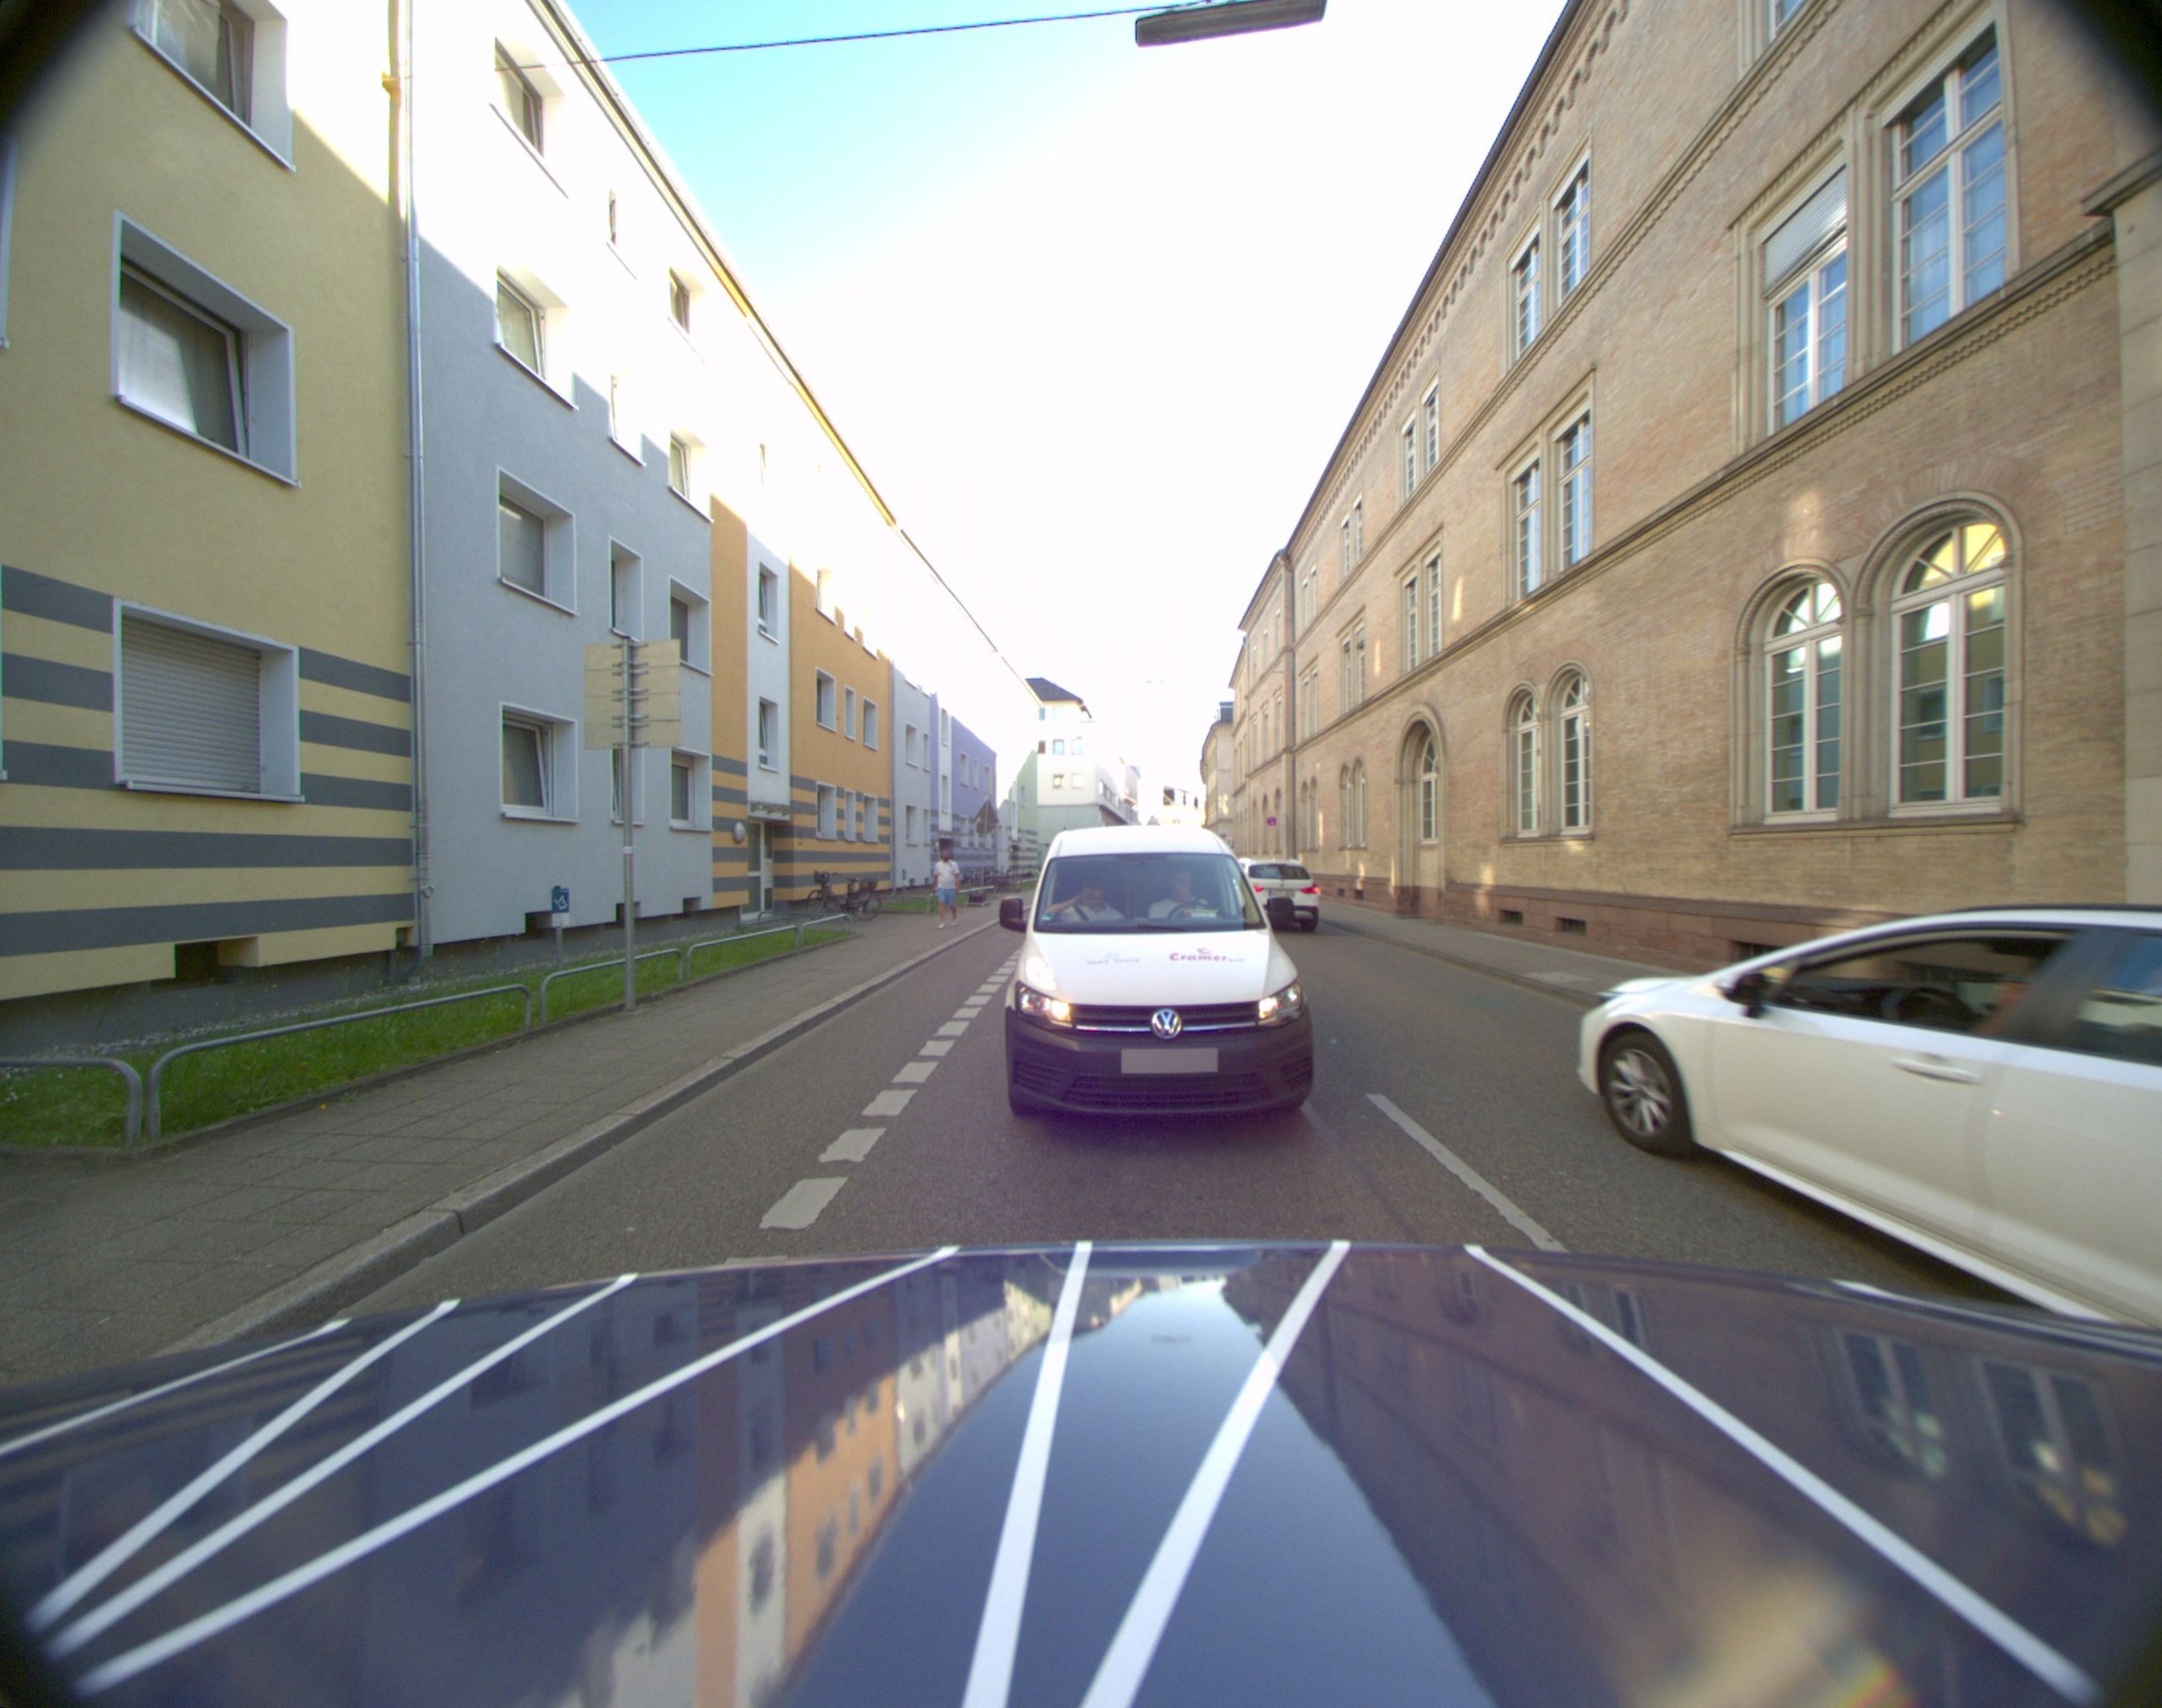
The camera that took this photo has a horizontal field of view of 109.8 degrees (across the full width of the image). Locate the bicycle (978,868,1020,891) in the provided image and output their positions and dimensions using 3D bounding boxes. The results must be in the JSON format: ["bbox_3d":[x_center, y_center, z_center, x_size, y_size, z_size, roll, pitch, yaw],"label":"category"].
[{"bbox_3d":[-3.655,1.141,33.832,1.775,0.934,0.584,1,1,7],"label":"bicycle"}]

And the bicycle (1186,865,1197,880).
[{"bbox_3d":[7.582,1.264,52.259,0.651,1.001,1.807,2,0,6],"label":"bicycle"}]

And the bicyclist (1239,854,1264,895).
[{"bbox_3d":[6.225,0.752,27.831,0.687,1.467,0.871,2,0,1],"label":"bicyclist"}]

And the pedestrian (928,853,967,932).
[{"bbox_3d":[-2.861,0.811,16.359,0.644,1.662,0.834,1,0,3],"label":"pedestrian"}]

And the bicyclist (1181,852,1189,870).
[{"bbox_3d":[9.015,0.608,65.848,0.546,1.524,0.870,2,0,10],"label":"bicyclist"}]

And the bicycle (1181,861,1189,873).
[{"bbox_3d":[8.992,1.111,65.777,0.546,1.001,1.758,2,0,10],"label":"bicycle"}]

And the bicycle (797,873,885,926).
[{"bbox_3d":[-5.390,1.017,17.117,1.776,1.118,0.583,1,1,-1],"label":"bicycle"}]

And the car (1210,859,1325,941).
[{"bbox_3d":[4.113,0.935,17.442,1.689,1.573,4.275,2,0,2],"label":"car"}]

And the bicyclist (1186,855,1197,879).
[{"bbox_3d":[7.585,0.889,52.248,0.651,1.558,0.961,2,0,6],"label":"bicyclist"}]

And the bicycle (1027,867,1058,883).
[{"bbox_3d":[-2.310,1.282,46.087,1.775,0.934,0.584,1,1,7],"label":"bicycle"}]

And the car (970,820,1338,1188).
[{"bbox_3d":[0.401,0.756,6.453,1.819,1.825,5.341,0,0,1],"label":"car"}]

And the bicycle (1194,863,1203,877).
[{"bbox_3d":[9.155,1.235,59.092,0.651,1.001,1.877,2,0,9],"label":"bicycle"}]

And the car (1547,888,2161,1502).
[{"bbox_3d":[3.802,0.982,2.443,1.891,1.467,4.545,2,0,2],"label":"car"}]

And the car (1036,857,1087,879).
[{"bbox_3d":[-1.589,1.141,63.491,3.995,1.681,1.901,-2,1,5],"label":"car"}]

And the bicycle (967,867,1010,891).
[{"bbox_3d":[-4.045,1.104,33.216,1.775,0.990,0.584,1,1,7],"label":"bicycle"}]

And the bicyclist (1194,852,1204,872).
[{"bbox_3d":[9.191,0.620,59.178,0.651,1.500,1.112,2,0,10],"label":"bicyclist"}]

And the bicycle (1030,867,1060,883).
[{"bbox_3d":[-2.231,1.313,47.625,1.775,0.934,0.584,1,1,7],"label":"bicycle"}]

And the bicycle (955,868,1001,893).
[{"bbox_3d":[-4.321,1.114,31.874,1.775,0.990,0.584,1,1,7],"label":"bicycle"}]
